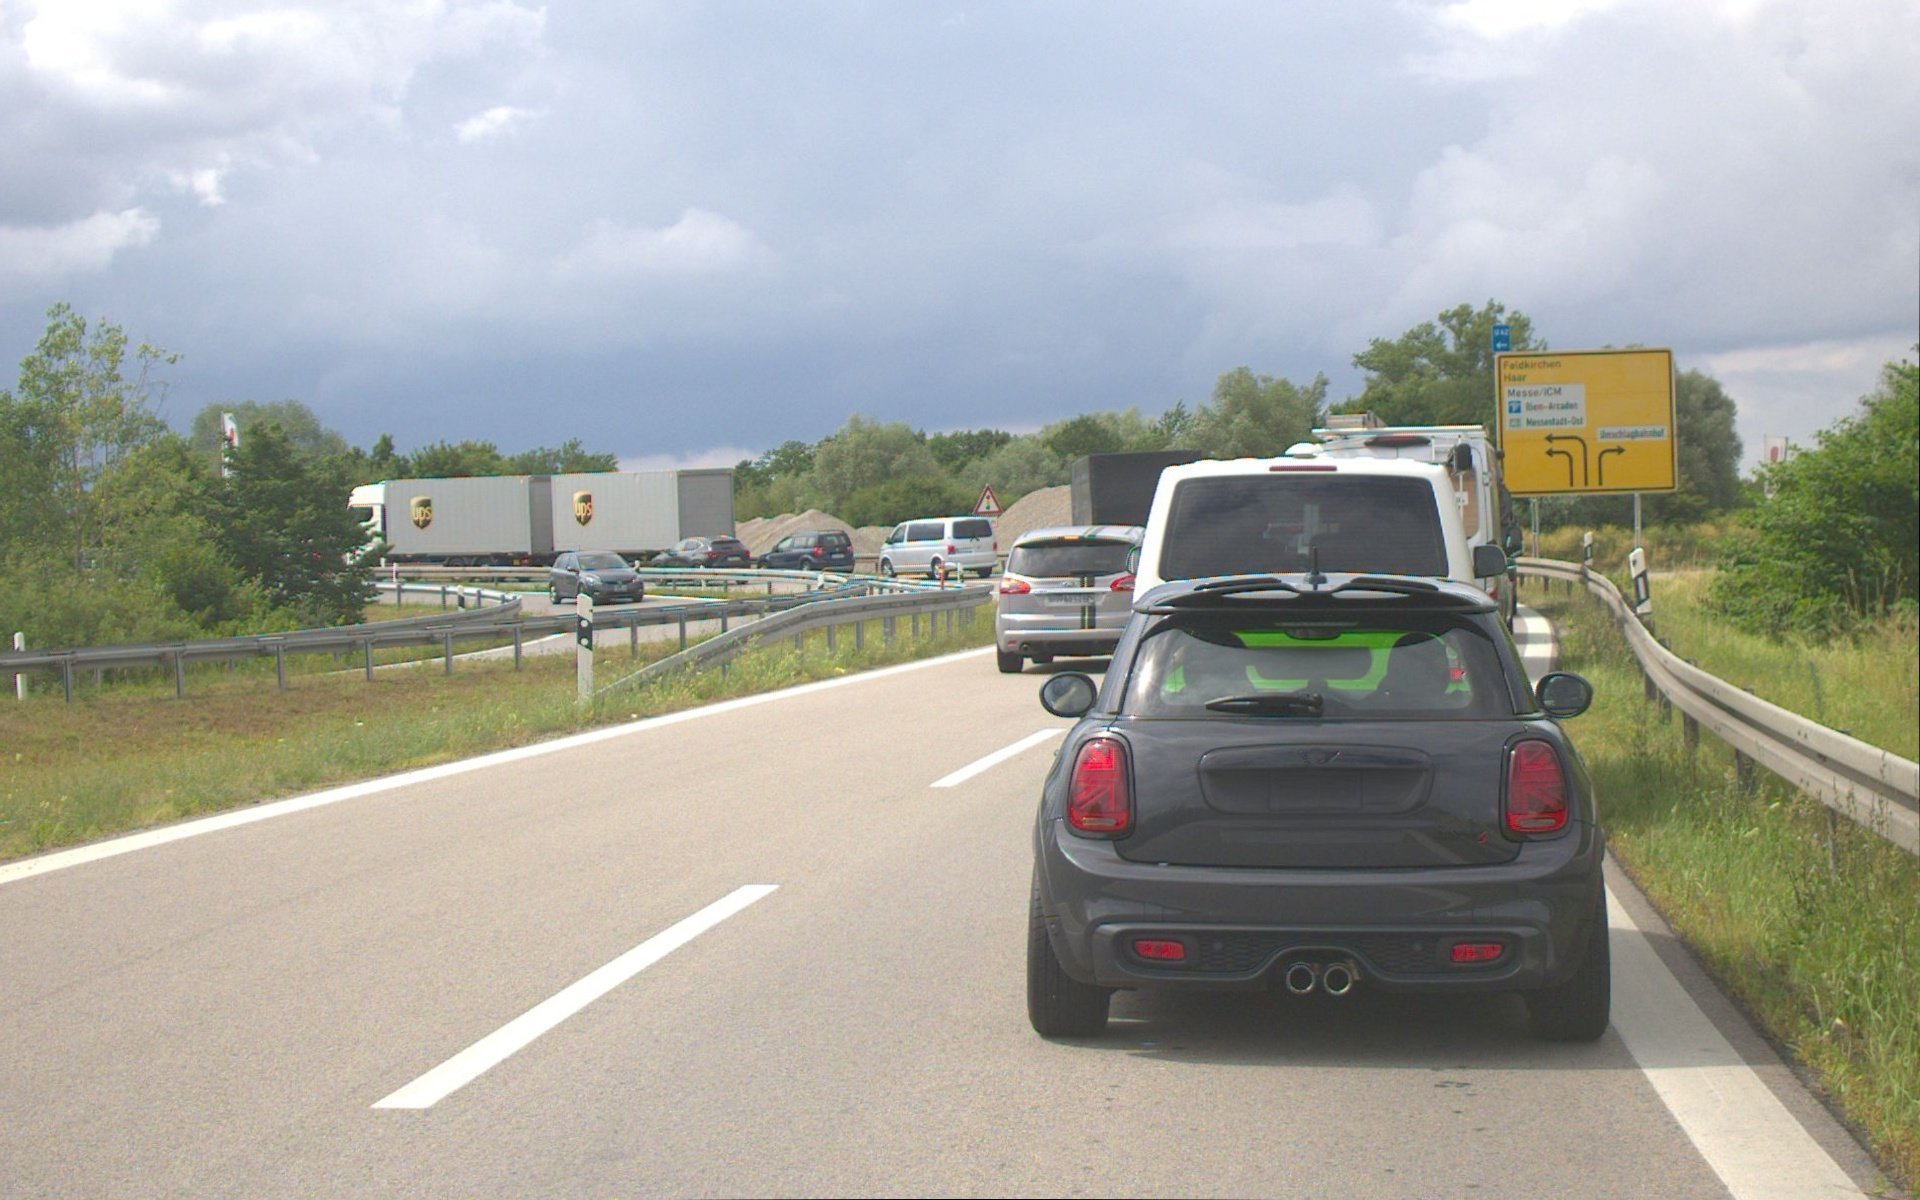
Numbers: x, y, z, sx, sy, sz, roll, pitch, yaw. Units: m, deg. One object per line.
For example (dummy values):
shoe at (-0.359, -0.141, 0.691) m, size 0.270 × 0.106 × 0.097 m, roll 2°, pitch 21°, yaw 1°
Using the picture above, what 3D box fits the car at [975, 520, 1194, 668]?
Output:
car at (1.501, -0.070, 39.503) m, size 2.022 × 1.572 × 4.585 m, roll -1°, pitch 0°, yaw 8°

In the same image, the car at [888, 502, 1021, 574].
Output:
car at (-0.221, -1.973, 110.954) m, size 2.289 × 2.252 × 5.108 m, roll 1°, pitch 0°, yaw -26°

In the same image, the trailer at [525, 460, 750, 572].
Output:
trailer at (-11.710, -2.991, 124.199) m, size 8.766 × 3.885 × 3.038 m, roll 1°, pitch 0°, yaw 44°

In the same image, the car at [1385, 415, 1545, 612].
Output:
car at (8.455, -1.358, 57.070) m, size 2.312 × 3.058 × 6.659 m, roll 1°, pitch 0°, yaw 11°

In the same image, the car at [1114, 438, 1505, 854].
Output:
car at (1.990, 0.208, 19.046) m, size 1.911 × 2.038 × 4.180 m, roll 0°, pitch 0°, yaw 8°

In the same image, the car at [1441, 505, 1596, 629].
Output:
car at (7.741, -0.441, 47.948) m, size 1.994 × 1.636 × 3.927 m, roll 1°, pitch 0°, yaw 8°

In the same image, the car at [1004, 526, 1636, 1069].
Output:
car at (1.166, 0.540, 11.767) m, size 1.800 × 1.541 × 3.738 m, roll 1°, pitch 1°, yaw 4°

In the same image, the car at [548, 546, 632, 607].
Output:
car at (-10.537, -0.661, 97.712) m, size 1.759 × 1.587 × 4.001 m, roll -3°, pitch 0°, yaw -14°

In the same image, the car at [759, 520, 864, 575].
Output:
car at (-5.142, -1.785, 118.443) m, size 1.921 × 1.831 × 4.318 m, roll 1°, pitch 0°, yaw -28°

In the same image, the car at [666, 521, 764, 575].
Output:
car at (-8.317, -1.738, 116.389) m, size 1.812 × 1.750 × 4.000 m, roll 1°, pitch 0°, yaw -28°

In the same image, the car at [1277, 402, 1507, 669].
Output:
car at (4.629, -0.644, 36.738) m, size 2.212 × 2.613 × 5.532 m, roll 1°, pitch 0°, yaw 8°

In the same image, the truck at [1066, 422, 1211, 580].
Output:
truck at (3.762, -2.055, 74.032) m, size 2.560 × 3.157 × 7.468 m, roll 1°, pitch 0°, yaw -1°

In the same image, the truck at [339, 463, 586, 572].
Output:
truck at (-18.888, -3.114, 130.144) m, size 10.017 × 3.962 × 2.839 m, roll 1°, pitch 0°, yaw 36°
